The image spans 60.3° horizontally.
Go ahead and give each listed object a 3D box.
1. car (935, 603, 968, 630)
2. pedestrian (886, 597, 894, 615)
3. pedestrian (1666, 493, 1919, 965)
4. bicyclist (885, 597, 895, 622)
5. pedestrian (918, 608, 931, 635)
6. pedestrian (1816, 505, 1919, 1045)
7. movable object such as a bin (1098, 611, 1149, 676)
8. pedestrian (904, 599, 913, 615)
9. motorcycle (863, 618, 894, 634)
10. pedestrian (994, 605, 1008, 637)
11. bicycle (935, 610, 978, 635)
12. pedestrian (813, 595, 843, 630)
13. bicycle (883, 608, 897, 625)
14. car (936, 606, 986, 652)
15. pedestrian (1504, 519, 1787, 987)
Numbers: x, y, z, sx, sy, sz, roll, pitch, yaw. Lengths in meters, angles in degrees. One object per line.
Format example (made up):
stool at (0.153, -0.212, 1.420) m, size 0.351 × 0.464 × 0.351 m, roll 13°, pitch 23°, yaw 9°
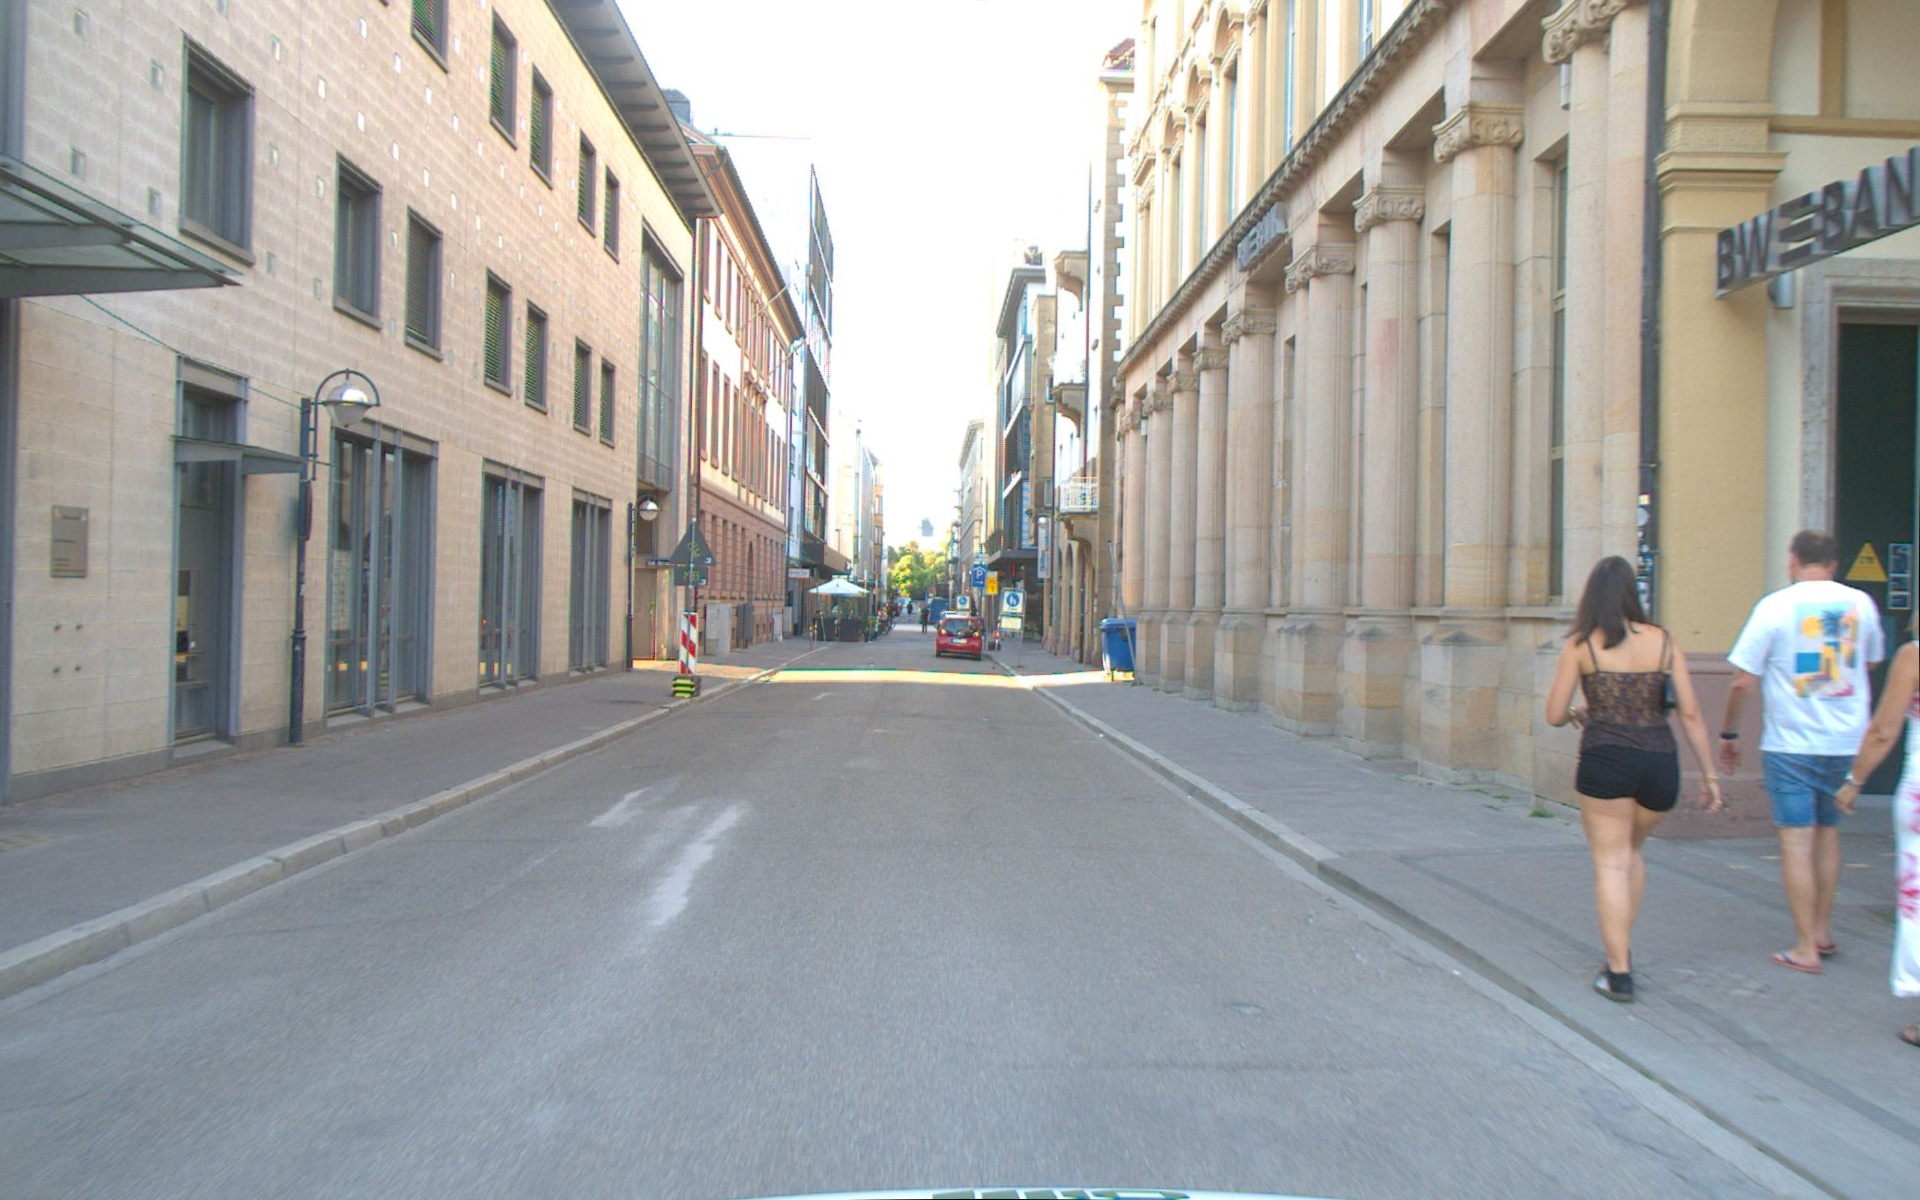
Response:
car at (-0.579, 1.062, 107.112) m, size 1.954 × 1.639 × 3.998 m, roll 2°, pitch 0°, yaw -3°
pedestrian at (-6.295, 0.534, 148.603) m, size 0.664 × 1.651 × 0.625 m, roll 1°, pitch 0°, yaw 0°
pedestrian at (3.655, 0.527, 7.158) m, size 0.795 × 1.908 × 0.874 m, roll 1°, pitch 0°, yaw -2°
bicyclist at (-4.866, 0.663, 114.851) m, size 0.625 × 1.669 × 0.770 m, roll 1°, pitch 0°, yaw -10°
pedestrian at (-2.357, 1.435, 110.413) m, size 0.848 × 1.743 × 0.852 m, roll 1°, pitch 0°, yaw -2°
pedestrian at (3.571, 0.598, 5.886) m, size 0.623 × 1.835 × 0.771 m, roll 1°, pitch 0°, yaw -2°
movable object such as a bin at (3.659, 0.969, 37.069) m, size 0.970 × 1.416 × 1.240 m, roll 1°, pitch 0°, yaw -2°
pedestrian at (-5.467, 0.775, 175.661) m, size 0.788 × 1.702 × 0.888 m, roll 1°, pitch 0°, yaw 0°
motorcycle at (-4.815, 1.558, 97.604) m, size 1.766 × 0.891 × 0.560 m, roll 2°, pitch 0°, yaw -6°
pedestrian at (1.964, 1.002, 79.965) m, size 0.643 × 1.514 × 0.493 m, roll 1°, pitch 0°, yaw 0°
bicycle at (-0.158, 1.084, 79.702) m, size 2.012 × 1.154 × 0.648 m, roll 2°, pitch 0°, yaw -5°
pedestrian at (-5.855, 0.544, 73.590) m, size 1.265 × 1.514 × 0.661 m, roll 2°, pitch 0°, yaw -4°
bicycle at (-4.875, 1.122, 114.910) m, size 0.625 × 1.177 × 2.495 m, roll 1°, pitch 0°, yaw -10°
car at (0.011, 1.002, 57.857) m, size 1.616 × 1.452 × 3.535 m, roll 4°, pitch 0°, yaw -1°
pedestrian at (2.761, 0.585, 6.746) m, size 0.760 × 1.777 × 0.874 m, roll 1°, pitch 0°, yaw -2°
